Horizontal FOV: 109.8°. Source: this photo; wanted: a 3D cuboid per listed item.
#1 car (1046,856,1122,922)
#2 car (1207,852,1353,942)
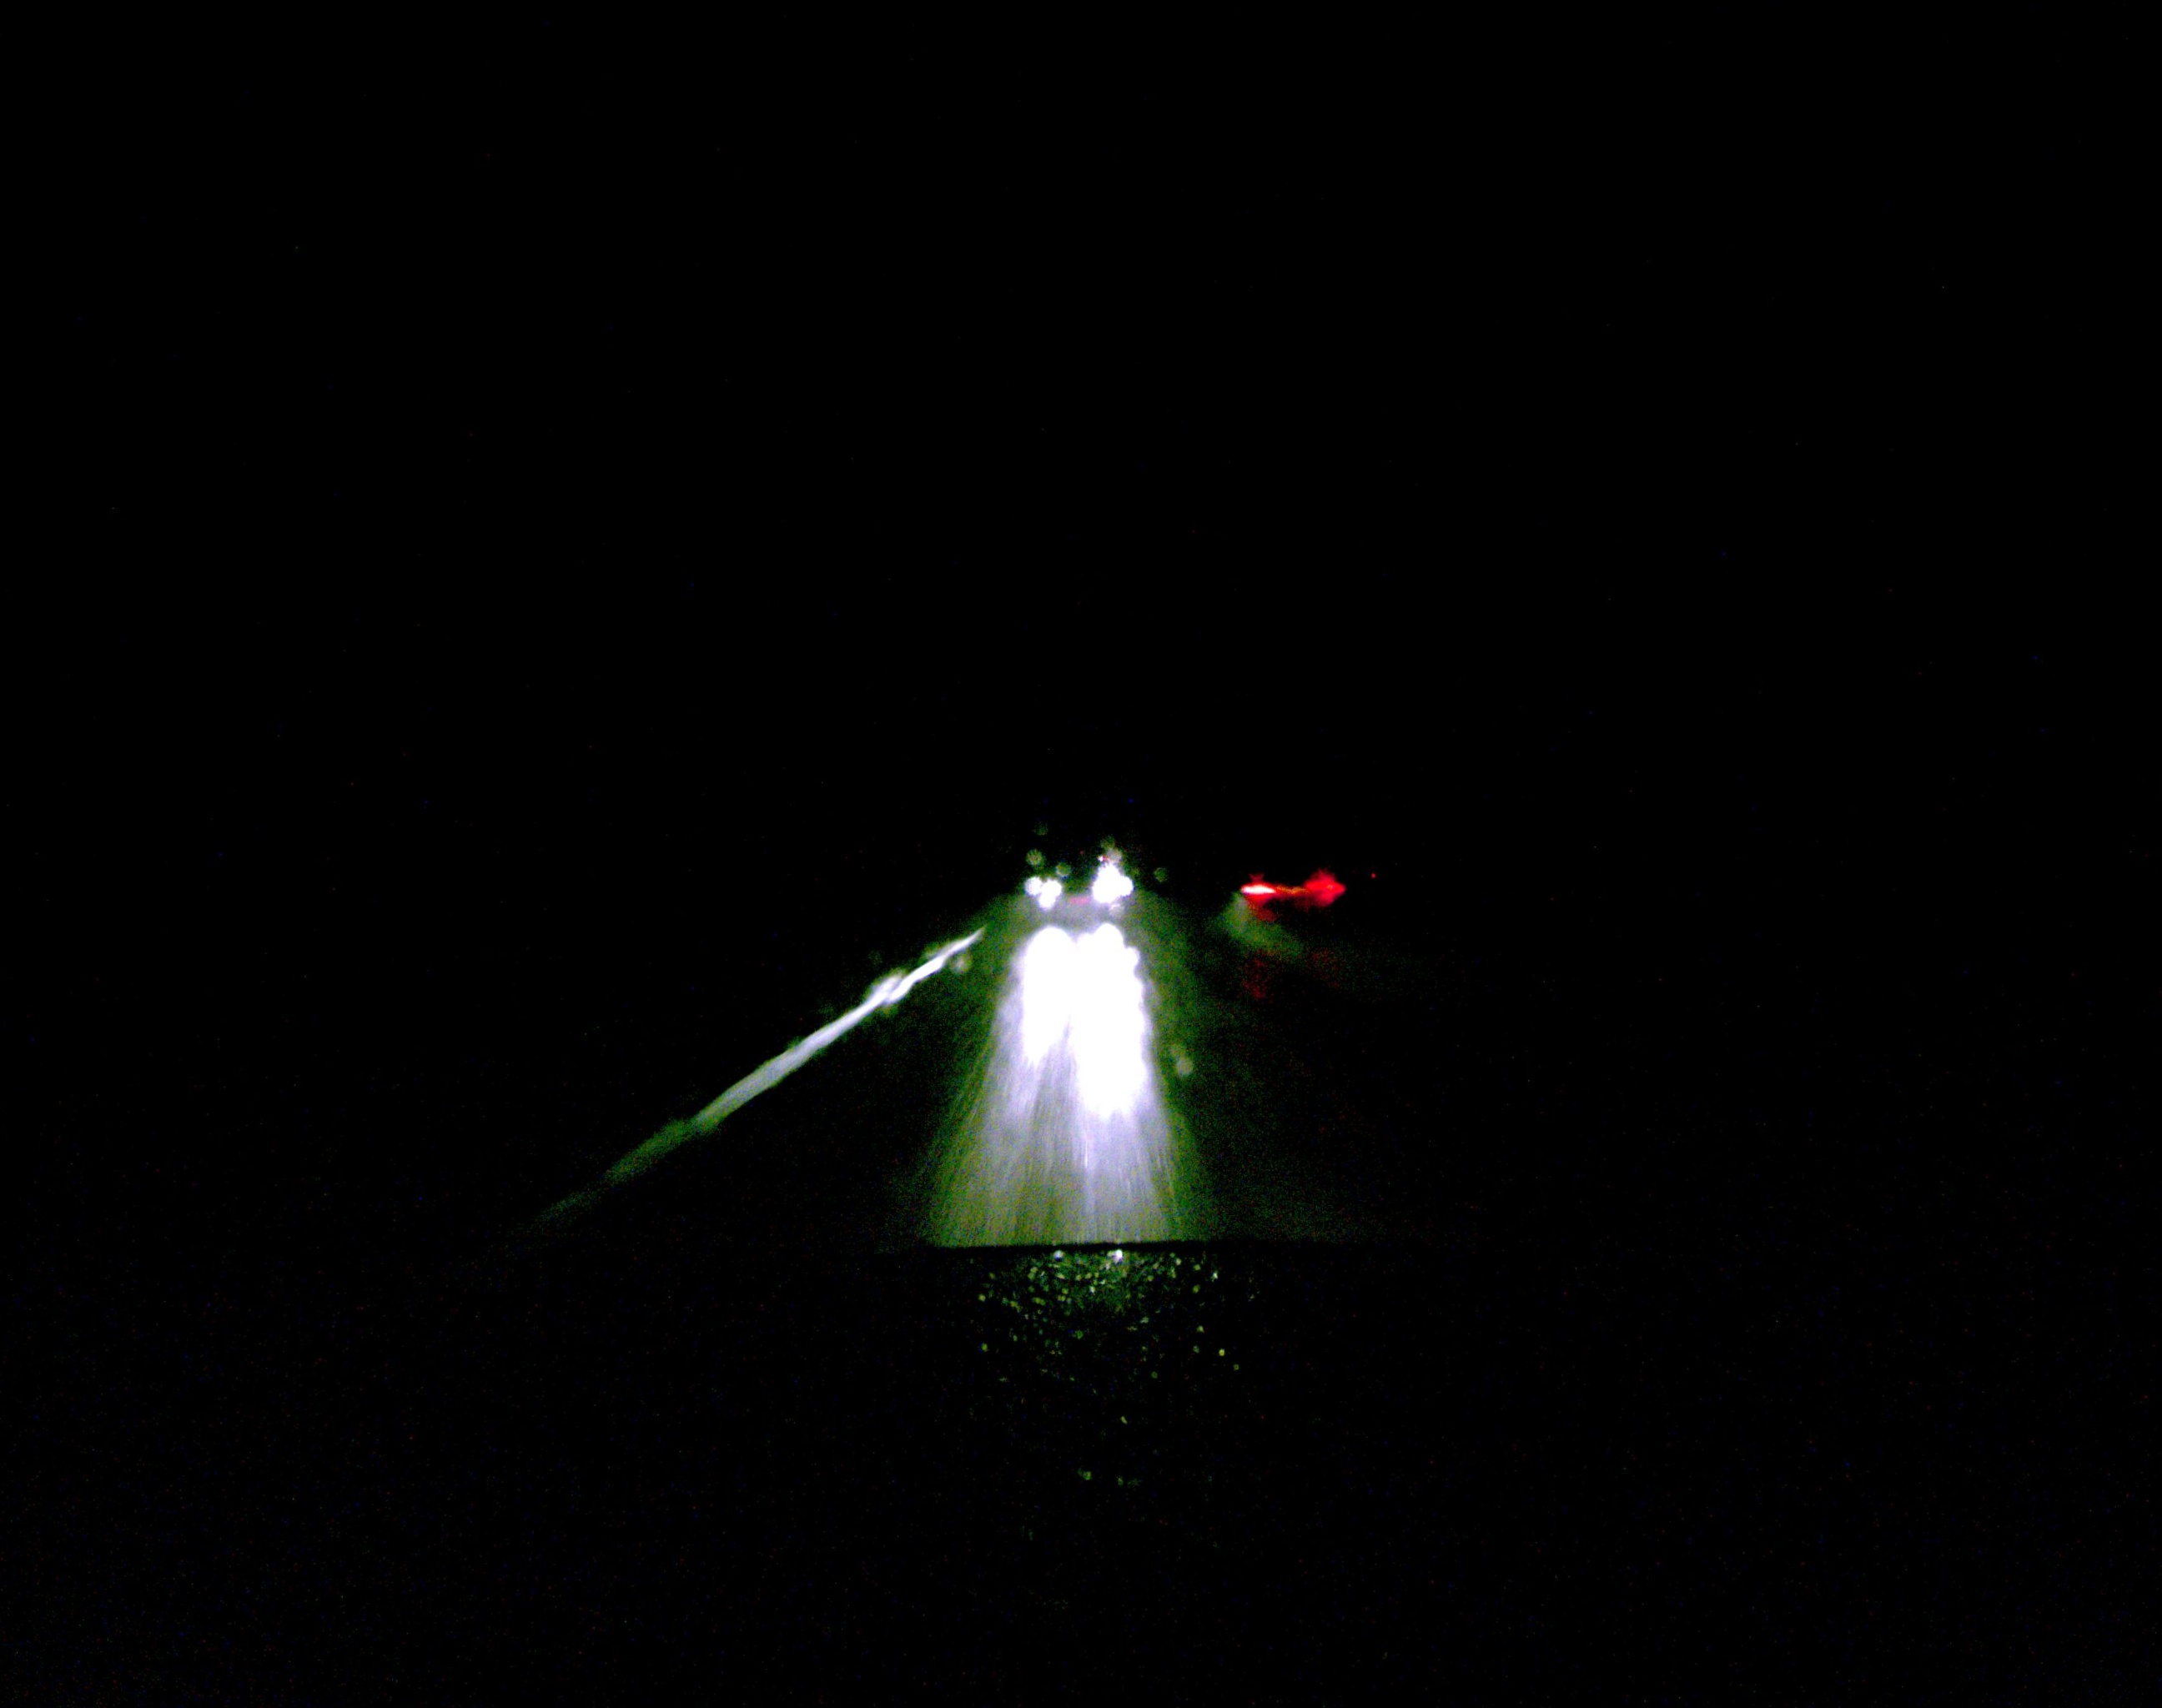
[{"bbox_3d":[0.185,0.908,21.514,1.862,1.601,4.420,-1,0,4],"label":"car"},{"bbox_3d":[3.956,0.820,15.863,1.867,1.535,4.229,-3,-1,0],"label":"car"}]
